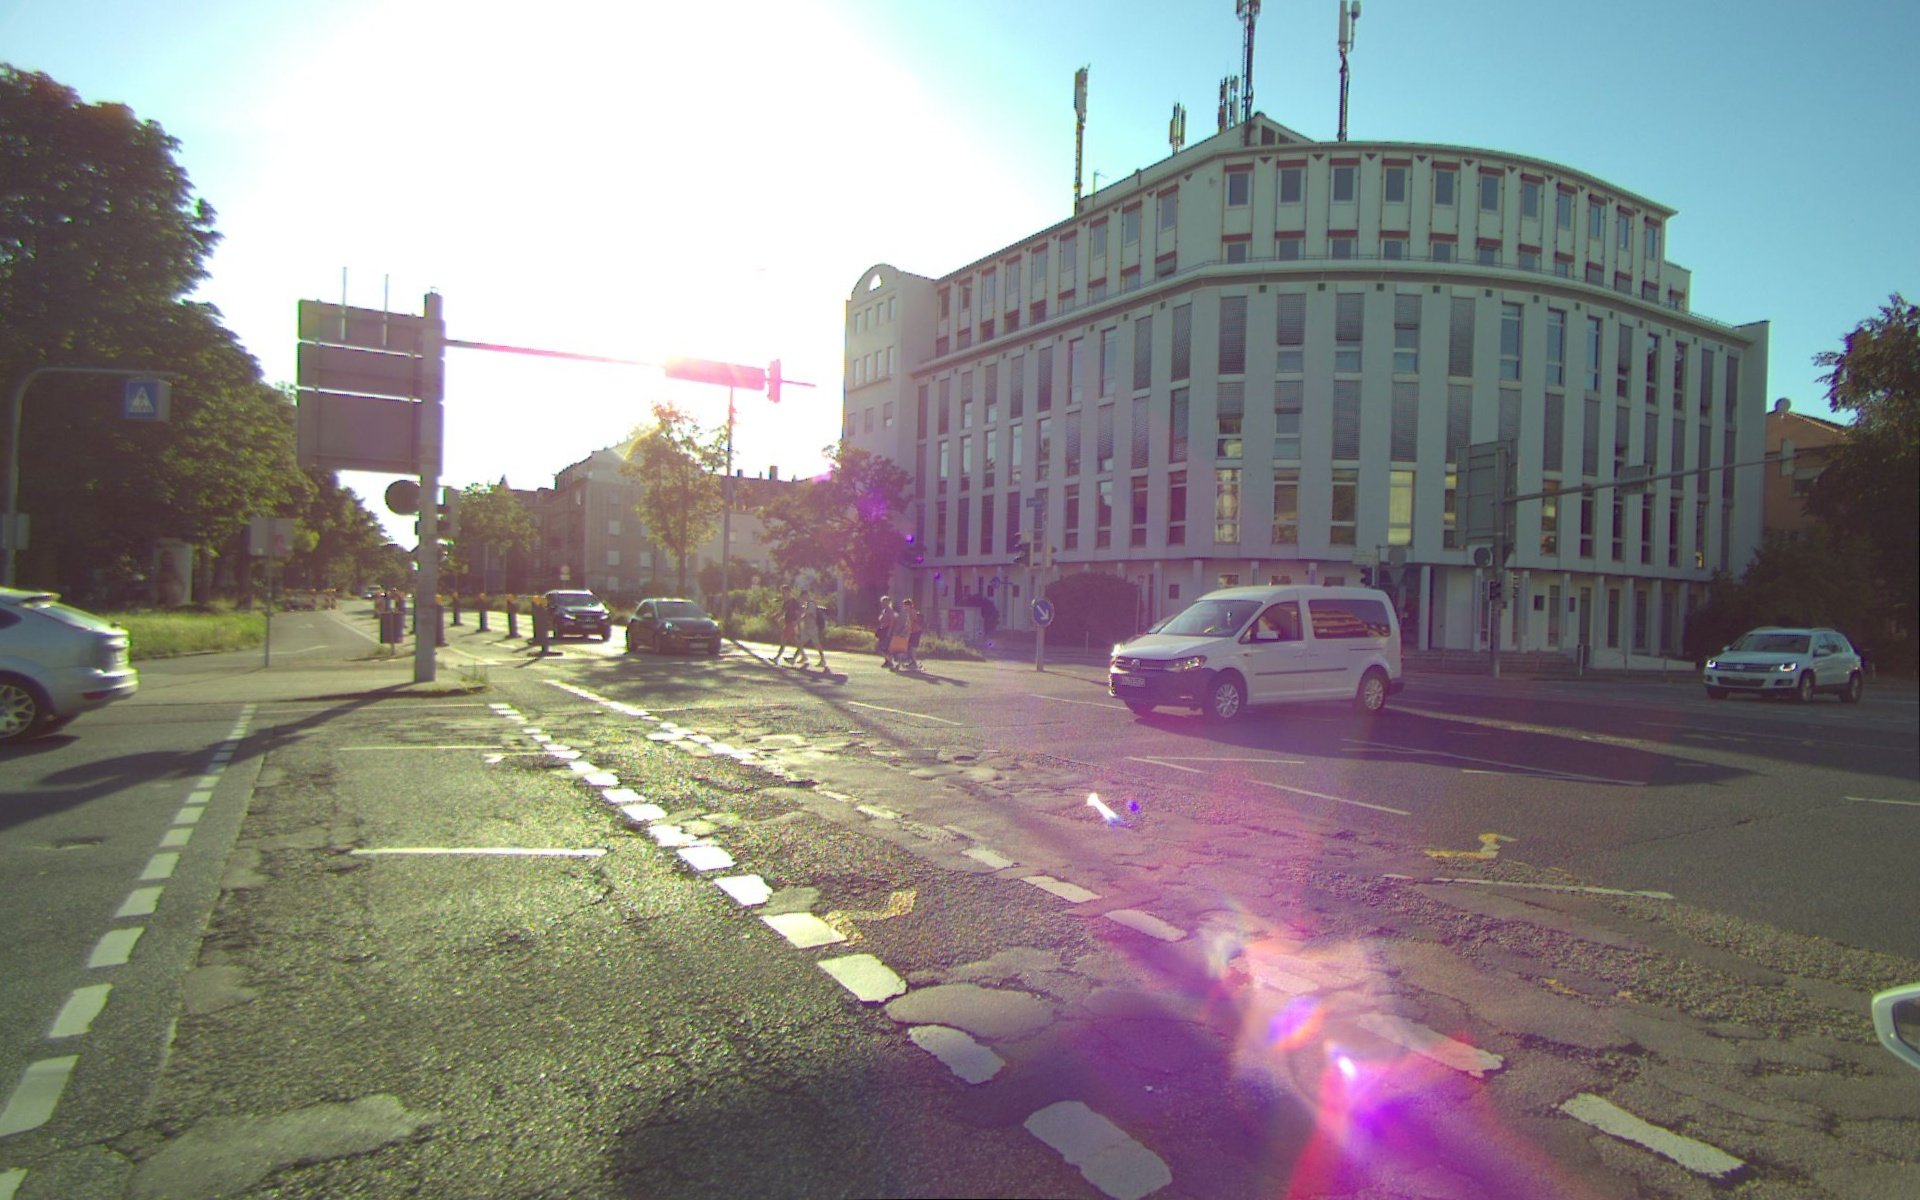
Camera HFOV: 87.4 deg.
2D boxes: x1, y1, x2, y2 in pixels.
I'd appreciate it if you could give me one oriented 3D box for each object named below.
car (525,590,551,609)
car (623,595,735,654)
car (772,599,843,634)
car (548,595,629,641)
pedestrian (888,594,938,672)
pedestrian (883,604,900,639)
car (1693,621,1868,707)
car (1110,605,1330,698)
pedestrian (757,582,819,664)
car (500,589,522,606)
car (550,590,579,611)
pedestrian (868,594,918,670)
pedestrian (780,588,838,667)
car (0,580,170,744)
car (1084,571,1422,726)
[{"bbox_3d":[-46.851,-0.080,111.538,1.979,2.040,3.963,2,0,-33],"label":"car"},{"bbox_3d":[-7.692,0.633,27.259,1.978,1.465,3.615,2,0,-32],"label":"car"},{"bbox_3d":[-8.305,0.869,54.578,1.985,1.751,3.952,2,0,-41],"label":"car"},{"bbox_3d":[-13.072,0.617,35.228,1.978,1.465,3.615,2,0,-32],"label":"car"},{"bbox_3d":[-1.032,0.722,22.064,0.882,1.673,0.614,2,0,-37],"label":"pedestrian"},{"bbox_3d":[-3.626,1.135,53.312,0.692,1.814,0.477,2,0,-39],"label":"pedestrian"},{"bbox_3d":[18.706,1.406,22.859,4.393,1.729,1.817,2,0,-33],"label":"car"},{"bbox_3d":[4.768,0.909,18.299,3.768,1.497,1.699,2,0,-30],"label":"car"},{"bbox_3d":[-4.027,0.538,23.512,1.159,1.873,0.812,2,0,-37],"label":"pedestrian"},{"bbox_3d":[-57.508,-0.320,128.559,1.979,2.040,3.963,2,0,-33],"label":"car"},{"bbox_3d":[-40.536,0.069,103.012,1.979,2.040,3.963,2,0,-33],"label":"car"},{"bbox_3d":[-1.516,0.710,22.628,0.875,1.673,0.671,2,0,-37],"label":"pedestrian"},{"bbox_3d":[-3.407,0.624,22.714,1.074,1.731,0.671,2,0,-37],"label":"pedestrian"},{"bbox_3d":[-10.153,0.527,9.267,4.242,1.482,1.751,2,0,-30],"label":"car"},{"bbox_3d":[4.245,0.642,14.206,4.893,1.872,1.817,2,0,-33],"label":"car"}]
